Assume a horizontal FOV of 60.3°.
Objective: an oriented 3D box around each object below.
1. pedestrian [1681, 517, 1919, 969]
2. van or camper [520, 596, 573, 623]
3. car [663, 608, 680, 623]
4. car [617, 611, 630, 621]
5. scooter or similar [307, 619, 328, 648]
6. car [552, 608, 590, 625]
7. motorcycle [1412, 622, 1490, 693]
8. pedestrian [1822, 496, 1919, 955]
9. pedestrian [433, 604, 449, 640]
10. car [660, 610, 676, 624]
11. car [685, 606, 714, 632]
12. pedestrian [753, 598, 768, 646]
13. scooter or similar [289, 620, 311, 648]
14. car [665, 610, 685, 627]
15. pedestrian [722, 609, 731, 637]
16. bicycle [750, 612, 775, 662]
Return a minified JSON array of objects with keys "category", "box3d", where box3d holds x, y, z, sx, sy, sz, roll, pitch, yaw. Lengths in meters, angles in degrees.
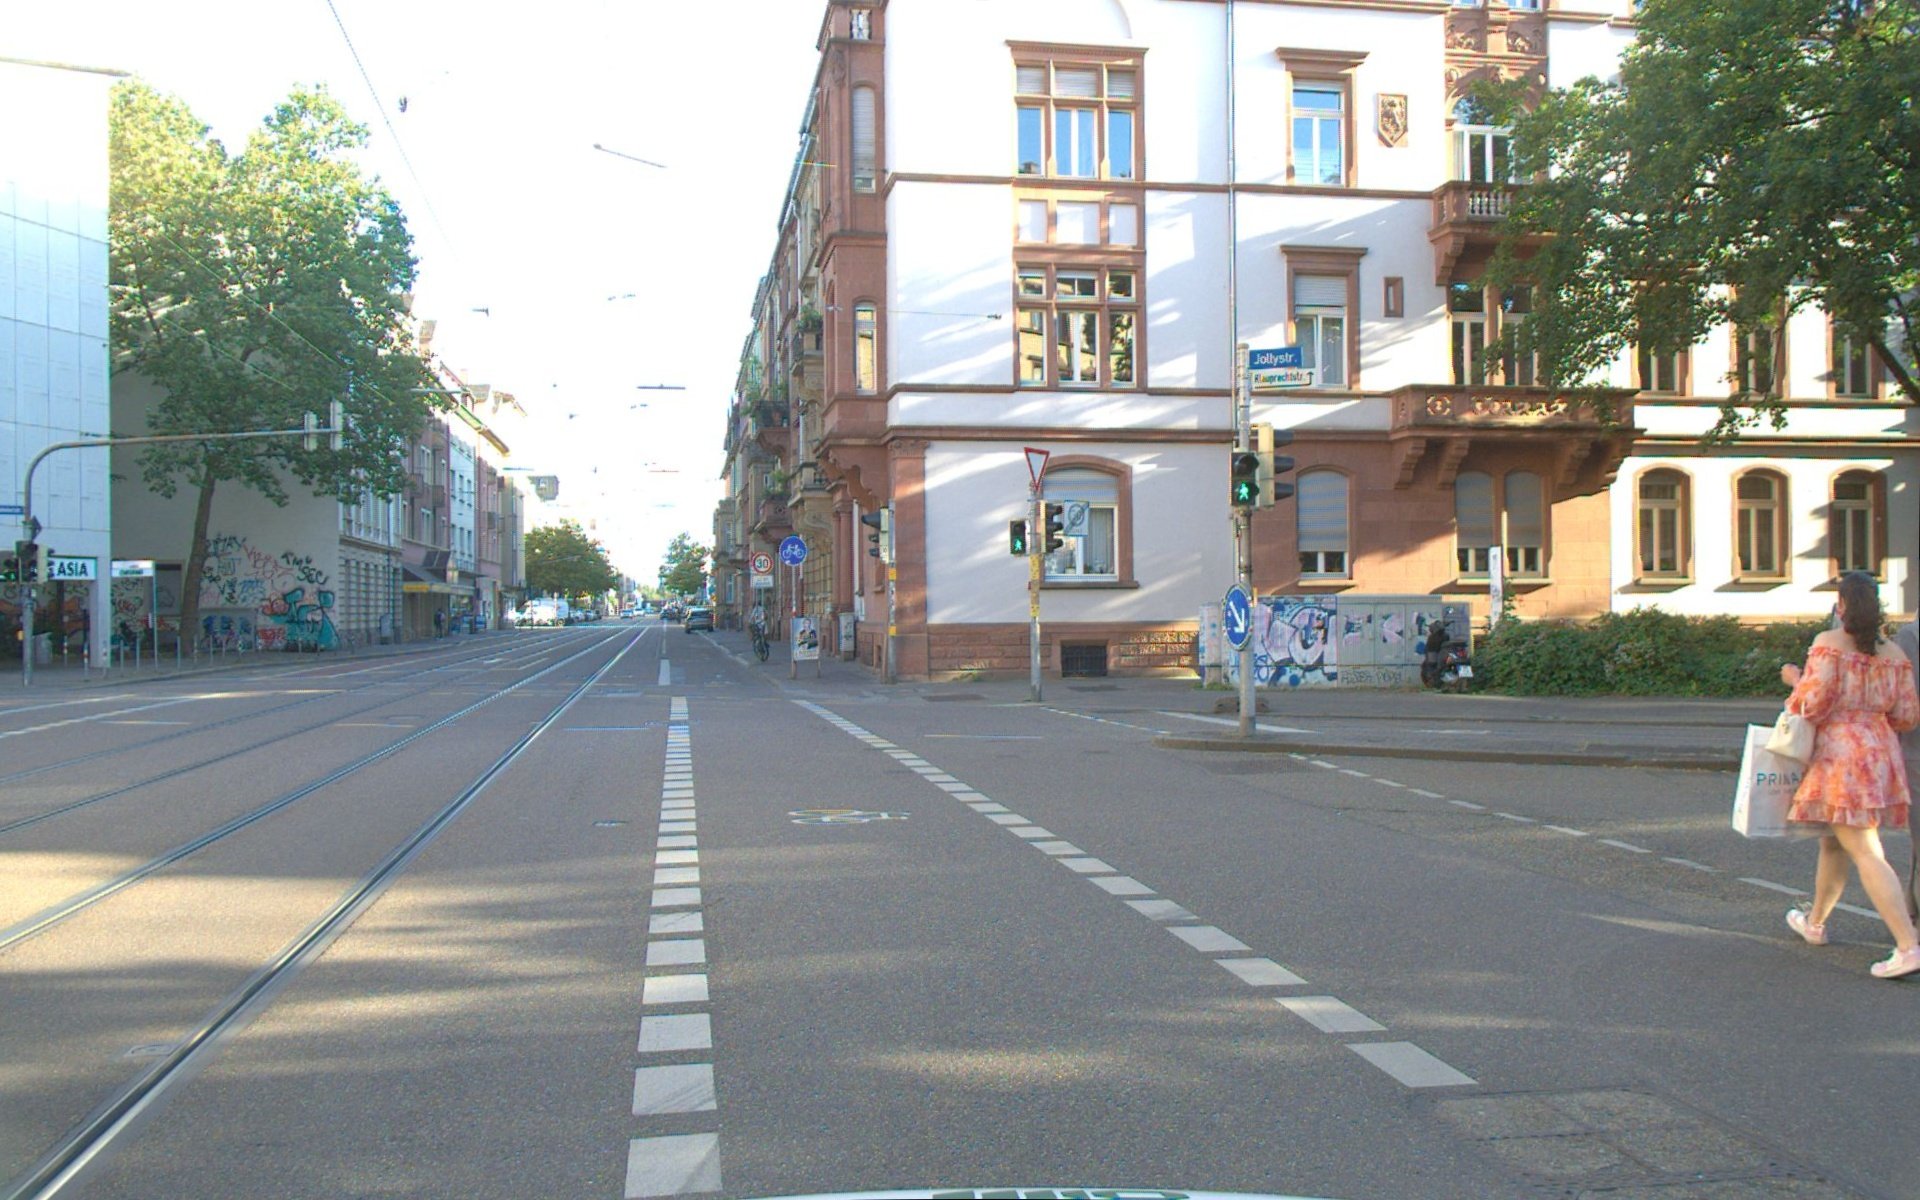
[{"category":"pedestrian","box3d":[3.773,0.591,7.202,0.793,1.831,0.757,3,0,-20]},{"category":"van or camper","box3d":[-40.139,0.963,160.593,4.608,2.608,1.970,1,-1,-41]},{"category":"car","box3d":[-34.295,1.797,196.556,1.958,1.758,3.989,0,-1,-11]},{"category":"car","box3d":[-51.777,2.508,254.610,1.786,1.467,3.990,0,-1,-10]},{"category":"scooter or similar","box3d":[-24.594,1.288,63.315,0.507,1.076,1.474,-1,0,-12]},{"category":"car","box3d":[-45.961,1.953,195.609,3.954,2.049,1.975,0,0,-35]},{"category":"motorcycle","box3d":[8.269,0.942,27.946,0.704,1.037,2.288,-1,2,1]},{"category":"pedestrian","box3d":[4.330,0.533,7.252,0.681,1.942,0.665,0,-1,-23]},{"category":"pedestrian","box3d":[-26.122,1.098,83.265,0.688,1.759,0.646,-1,0,-10]},{"category":"car","box3d":[-36.119,2.111,204.624,1.958,1.758,3.989,0,-1,-11]},{"category":"car","box3d":[-17.947,1.282,114.066,1.914,1.713,3.992,-1,0,-9]},{"category":"pedestrian","box3d":[-7.589,0.821,62.838,0.534,1.811,0.503,-1,-1,-9]},{"category":"scooter or similar","box3d":[-25.197,1.293,63.168,0.507,1.064,1.474,-1,0,-12]},{"category":"car","box3d":[-29.942,1.925,173.708,1.958,1.758,3.989,0,-1,-11]},{"category":"pedestrian","box3d":[-15.296,1.508,108.236,0.534,1.811,0.748,-1,-1,-9]},{"category":"bicycle","box3d":[-5.466,1.014,45.740,0.641,1.347,2.173,-1,0,-8]}]
